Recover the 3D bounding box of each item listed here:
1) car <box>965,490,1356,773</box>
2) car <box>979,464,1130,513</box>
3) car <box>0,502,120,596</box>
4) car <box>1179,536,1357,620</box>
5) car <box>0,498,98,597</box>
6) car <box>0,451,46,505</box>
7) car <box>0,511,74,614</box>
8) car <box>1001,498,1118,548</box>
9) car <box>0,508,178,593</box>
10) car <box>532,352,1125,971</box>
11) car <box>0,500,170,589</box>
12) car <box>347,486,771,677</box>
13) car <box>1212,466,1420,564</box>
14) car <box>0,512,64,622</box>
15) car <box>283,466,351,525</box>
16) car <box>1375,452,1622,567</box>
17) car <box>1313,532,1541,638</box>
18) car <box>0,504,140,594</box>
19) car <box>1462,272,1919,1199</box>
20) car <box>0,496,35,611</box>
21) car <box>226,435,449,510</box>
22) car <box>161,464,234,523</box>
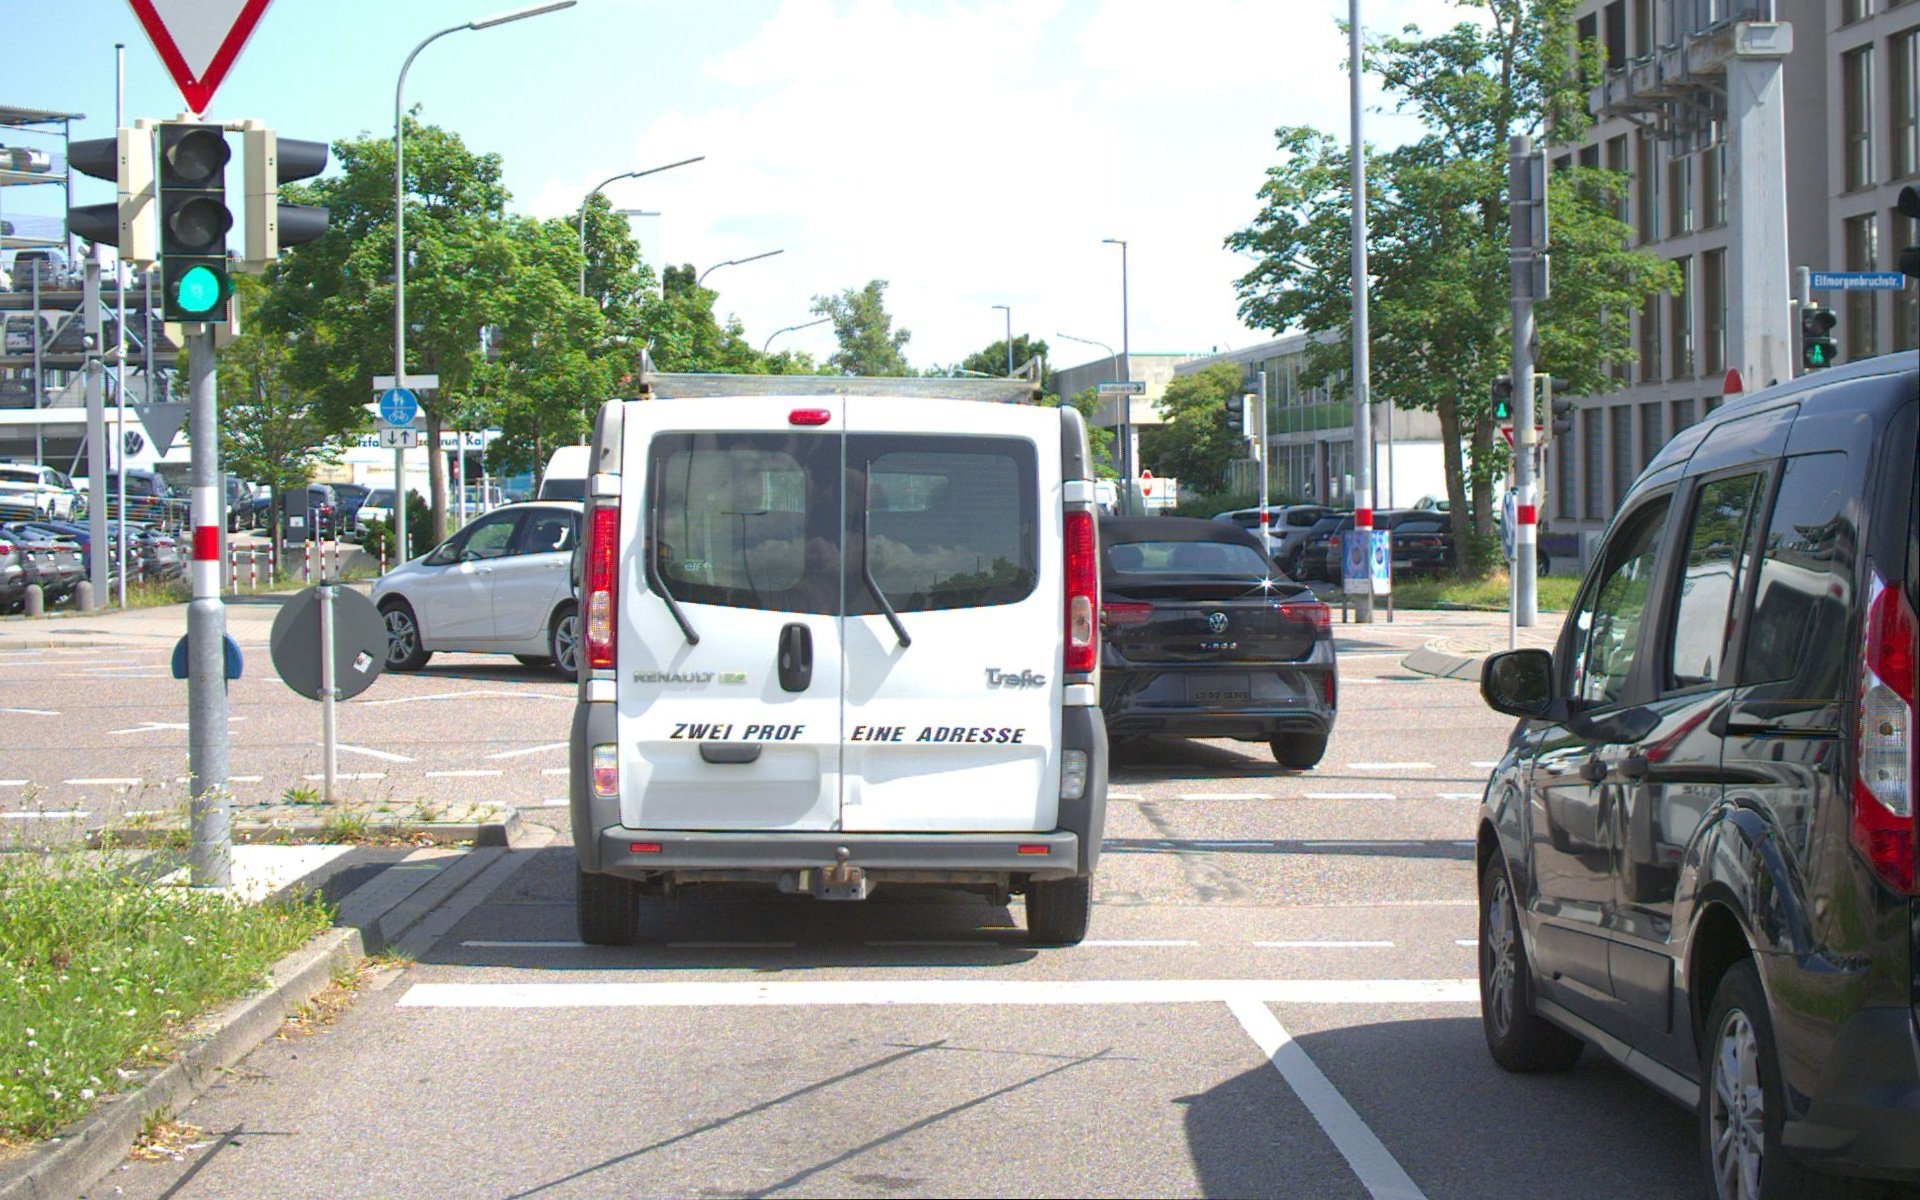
[{"bbox_3d":[1.163,0.138,21.826,1.773,1.624,4.001,0,1,-7],"label":"car"},{"bbox_3d":[4.076,-4.845,149.216,6.340,2.007,2.573,1,1,-3],"label":"car"},{"bbox_3d":[-17.597,-0.925,61.836,4.574,1.672,1.907,0,1,-4],"label":"car"},{"bbox_3d":[7.586,-0.537,84.759,3.986,2.007,2.001,1,0,-9],"label":"car"},{"bbox_3d":[-17.382,-0.924,59.323,4.574,1.672,1.907,1,1,-4],"label":"car"},{"bbox_3d":[-29.226,-3.639,102.019,3.986,1.547,1.765,0,1,-12],"label":"car"},{"bbox_3d":[-17.117,-0.639,56.680,4.574,1.672,1.907,1,1,-4],"label":"car"},{"bbox_3d":[3.584,-2.763,124.292,3.986,1.744,2.000,1,1,-7],"label":"car"},{"bbox_3d":[-18.302,-1.005,69.539,4.574,1.672,1.907,1,1,-4],"label":"car"},{"bbox_3d":[-0.560,0.158,13.727,1.973,2.053,4.565,0,1,-3],"label":"car"},{"bbox_3d":[-17.917,-1.091,67.179,4.574,1.672,1.907,1,1,-4],"label":"car"},{"bbox_3d":[-3.678,-0.182,31.075,1.772,1.612,3.998,0,1,-43],"label":"car"},{"bbox_3d":[7.518,-1.784,72.796,3.986,2.007,2.001,1,0,-9],"label":"car"},{"bbox_3d":[-16.501,-0.536,53.668,4.574,1.672,1.907,1,1,-4],"label":"car"},{"bbox_3d":[-17.679,-2.867,94.617,1.560,1.547,3.603,0,1,-6],"label":"car"},{"bbox_3d":[9.765,-1.627,62.465,3.986,2.007,2.001,1,0,-9],"label":"car"},{"bbox_3d":[9.085,-0.296,67.065,3.986,2.007,2.001,1,0,-9],"label":"car"},{"bbox_3d":[-17.853,-0.964,64.428,4.574,1.672,1.907,0,1,-4],"label":"car"},{"bbox_3d":[2.361,0.347,7.913,1.823,1.898,4.000,0,1,0],"label":"car"},{"bbox_3d":[-16.235,-0.707,50.974,4.574,1.672,1.907,1,1,-4],"label":"car"},{"bbox_3d":[-18.459,-3.776,102.150,6.386,2.095,1.765,1,0,-5],"label":"car"},{"bbox_3d":[-21.086,-2.928,95.170,1.560,1.547,3.603,1,1,-6],"label":"car"}]
